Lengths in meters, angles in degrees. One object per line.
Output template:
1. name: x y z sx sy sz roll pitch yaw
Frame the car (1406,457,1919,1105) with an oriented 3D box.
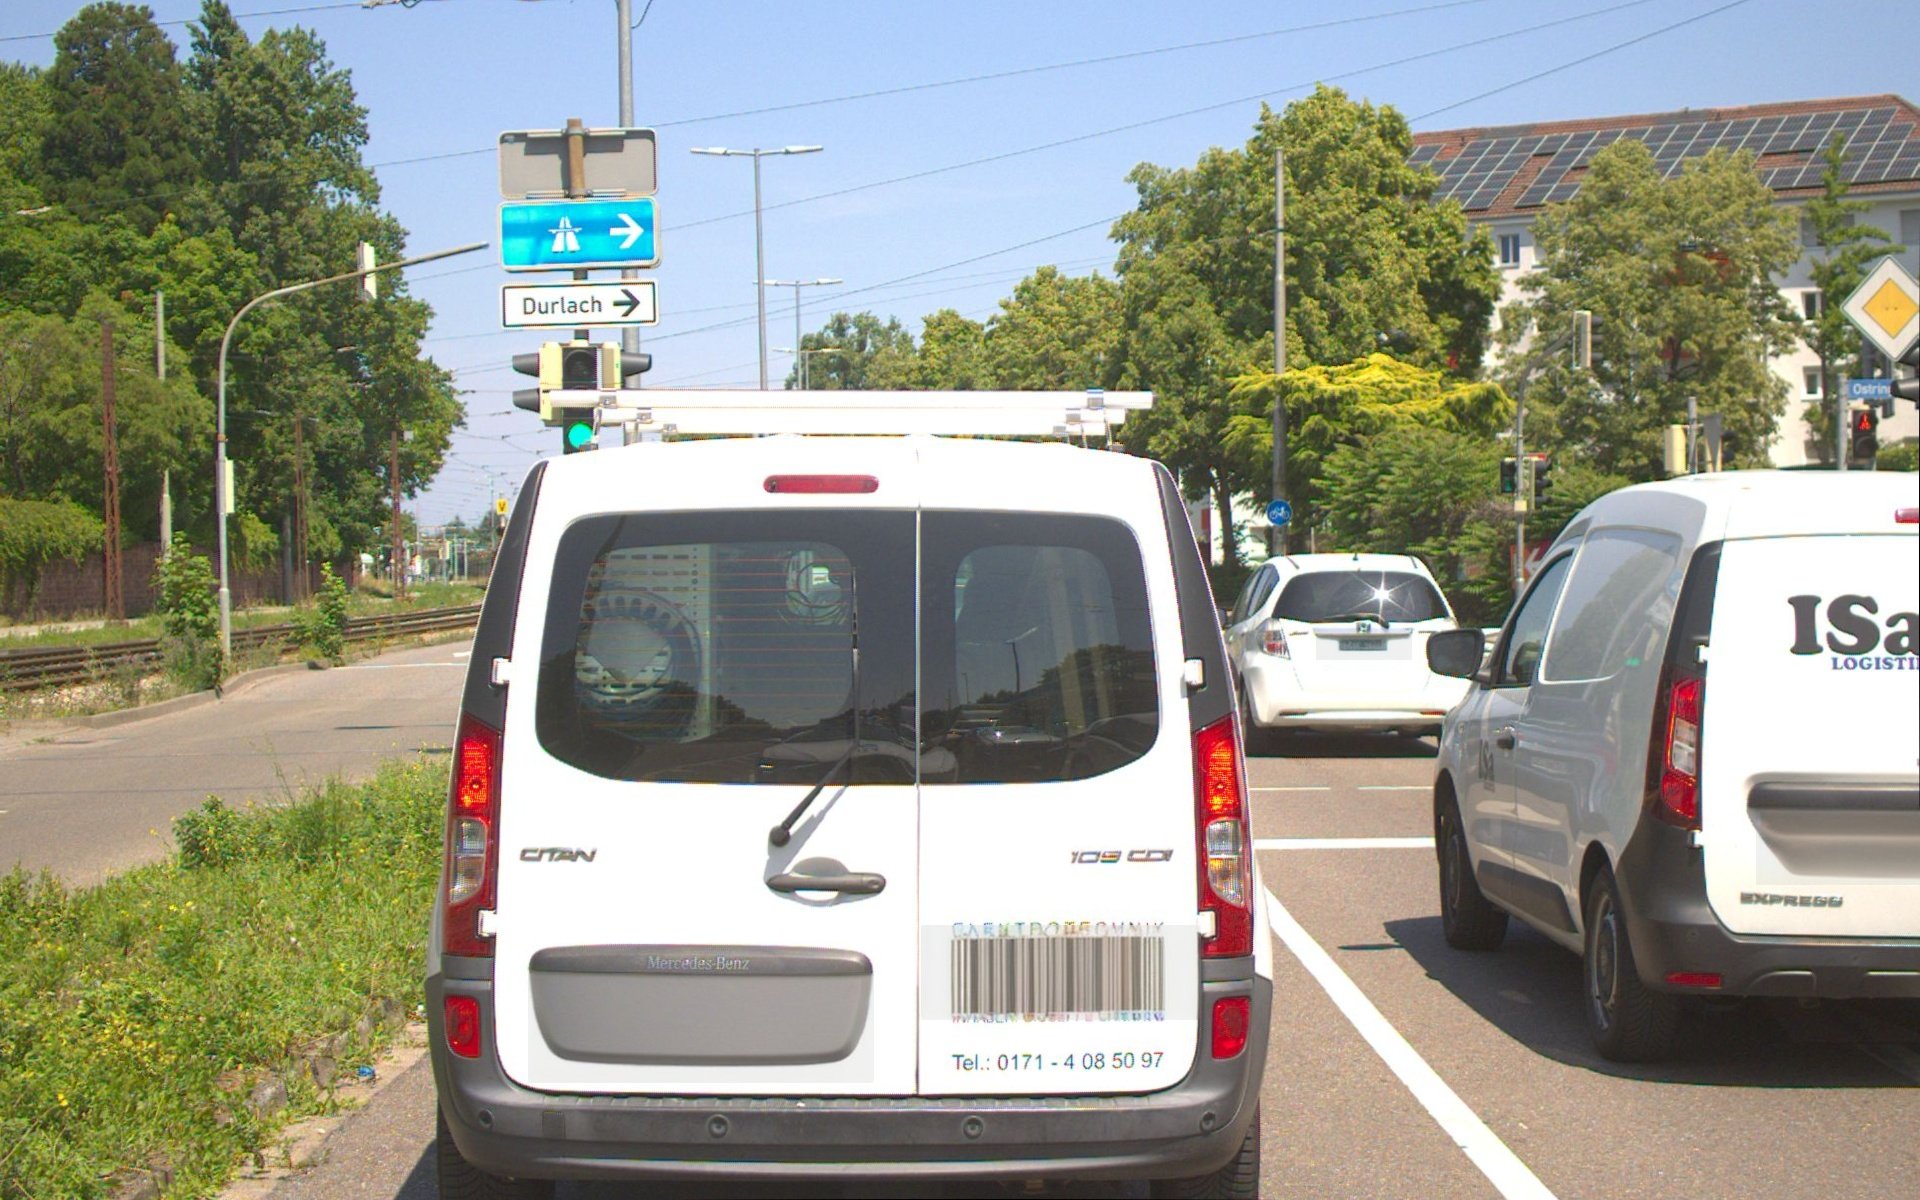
1. car: 2.692 0.487 11.547 1.727 1.782 4.065 1 1 -2

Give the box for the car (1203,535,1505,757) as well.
1. car: 2.991 0.296 26.861 1.835 1.563 4.000 1 1 -1

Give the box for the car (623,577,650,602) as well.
1. car: -20.859 -0.698 221.458 1.697 1.507 4.067 -1 1 -6

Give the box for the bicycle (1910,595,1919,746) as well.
1. bicycle: 8.060 0.528 25.440 1.867 1.121 0.895 0 0 7

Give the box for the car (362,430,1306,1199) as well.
1. car: -0.271 0.512 8.858 1.821 1.734 4.396 0 1 -1
